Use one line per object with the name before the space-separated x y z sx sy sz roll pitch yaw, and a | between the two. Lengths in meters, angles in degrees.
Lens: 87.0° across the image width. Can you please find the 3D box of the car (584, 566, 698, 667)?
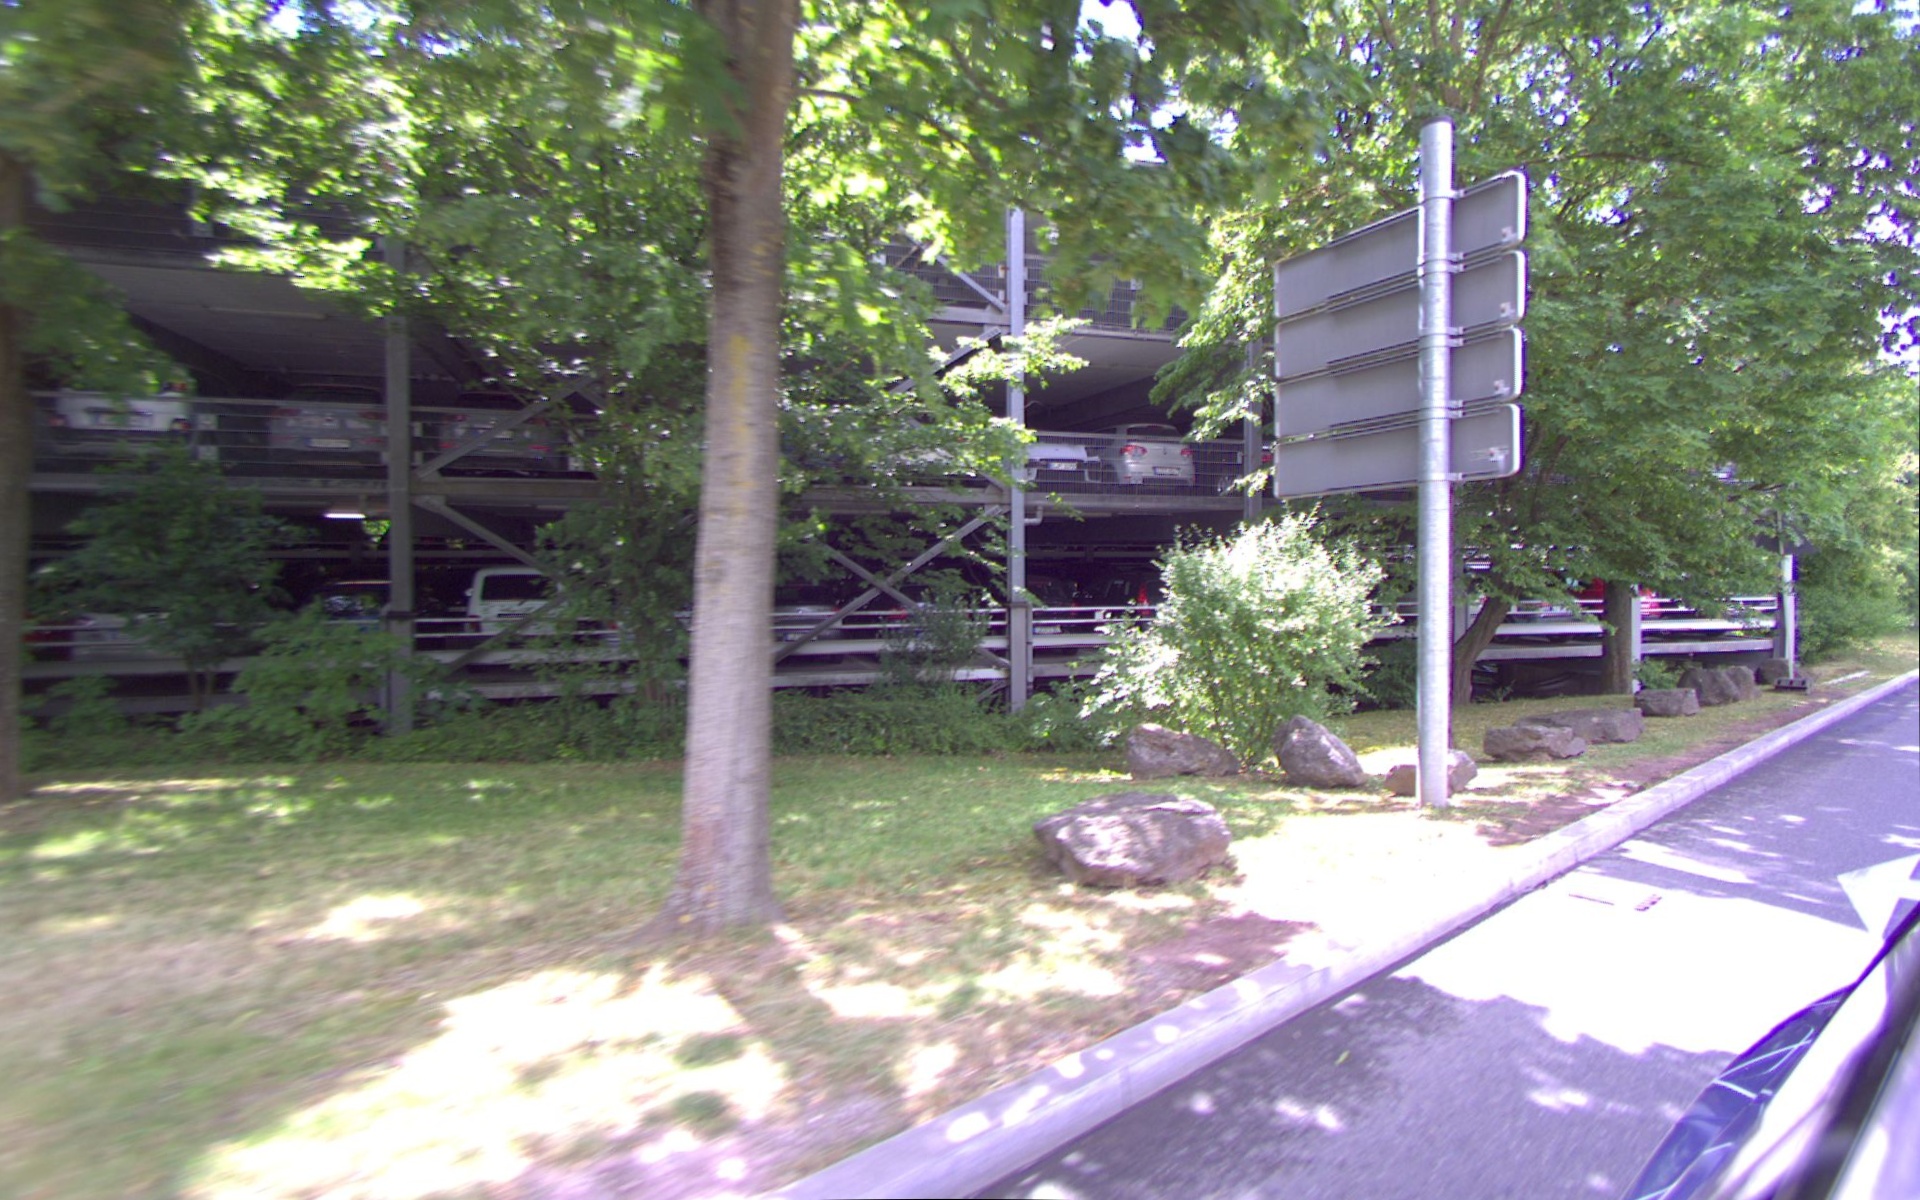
car | -5.428 0.194 17.287 1.659 1.508 3.866 0 2 -17

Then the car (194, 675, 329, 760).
car | -16.810 2.778 24.559 1.605 1.387 3.793 0 3 -17

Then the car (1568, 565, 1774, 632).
car | 16.513 -0.088 23.729 1.624 1.429 3.712 0 2 -18

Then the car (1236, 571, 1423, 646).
car | 7.572 0.111 21.156 1.659 1.409 3.866 0 2 -17

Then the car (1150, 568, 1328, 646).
car | 5.521 0.073 20.557 1.659 1.409 3.866 0 2 -17

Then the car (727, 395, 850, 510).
car | -3.055 -2.434 17.445 1.624 1.449 3.712 2 1 -16

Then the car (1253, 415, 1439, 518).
car | 7.825 -2.650 20.906 1.624 1.639 3.712 2 1 -16

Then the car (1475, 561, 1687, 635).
car | 14.088 -0.100 23.221 1.798 1.533 3.866 0 2 -19

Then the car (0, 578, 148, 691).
car | -13.616 0.411 14.542 1.739 1.409 3.807 0 2 -17

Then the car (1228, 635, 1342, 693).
car | 10.831 2.091 33.991 1.716 1.483 3.867 0 3 -17

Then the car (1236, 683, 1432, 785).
car | 7.700 2.706 21.242 1.798 1.471 3.866 0 2 -19

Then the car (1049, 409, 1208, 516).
car | 3.256 -2.655 20.299 1.624 1.639 3.712 2 1 -16

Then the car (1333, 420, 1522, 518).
car | 9.994 -2.740 21.961 1.624 1.662 3.712 2 1 -16

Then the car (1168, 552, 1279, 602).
car | 8.549 -0.810 33.136 1.716 1.504 3.867 0 3 -17

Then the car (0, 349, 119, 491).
car | -13.870 -2.556 14.295 1.691 1.639 3.712 2 1 -16

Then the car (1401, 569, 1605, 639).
car | 11.952 0.021 22.585 1.775 1.409 3.866 0 2 -17

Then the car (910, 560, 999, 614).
car | -0.235 -0.444 30.958 1.659 1.504 3.867 0 3 -17

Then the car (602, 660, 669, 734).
car | -8.961 2.613 28.048 1.659 1.464 3.867 0 3 -17

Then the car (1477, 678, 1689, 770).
car | 14.177 2.759 23.292 1.798 1.471 3.866 0 2 -19

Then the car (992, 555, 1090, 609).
car | 2.404 -0.591 31.061 1.659 1.504 3.867 0 3 -17

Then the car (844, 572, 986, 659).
car | -0.934 0.193 18.461 1.659 1.409 3.866 0 2 -17

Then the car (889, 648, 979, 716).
car | -0.832 2.343 29.723 1.659 1.464 3.867 0 3 -17

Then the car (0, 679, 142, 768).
car | -20.739 2.782 23.346 1.605 1.387 3.793 0 3 -17

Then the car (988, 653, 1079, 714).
car | 2.188 2.514 31.114 1.572 1.351 3.636 0 3 -17

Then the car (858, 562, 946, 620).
car | -1.756 -0.318 29.420 1.659 1.504 3.867 0 3 -17

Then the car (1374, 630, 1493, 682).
car | 17.075 1.990 36.679 1.716 1.442 3.867 0 3 -17

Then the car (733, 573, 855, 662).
car | -3.101 0.235 18.269 1.659 1.409 3.866 0 2 -17

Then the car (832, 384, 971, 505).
car | -1.146 -2.640 17.961 1.624 1.582 3.712 2 1 -16

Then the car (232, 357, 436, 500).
car | -9.395 -2.491 15.522 1.691 1.561 3.712 2 1 -16

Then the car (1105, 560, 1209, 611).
car | 6.297 -0.522 32.786 1.659 1.504 3.867 0 3 -17

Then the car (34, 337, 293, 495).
car | -11.453 -2.550 14.886 1.691 1.639 3.712 2 1 -16

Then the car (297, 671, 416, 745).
car | -15.248 2.673 25.766 1.739 1.349 3.807 0 2 -17

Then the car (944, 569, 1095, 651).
car | 1.040 0.117 19.641 1.659 1.409 3.866 0 2 -17

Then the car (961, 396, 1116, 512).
car | 1.347 -2.604 18.878 1.624 1.639 3.712 2 1 -16

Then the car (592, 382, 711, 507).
car | -5.210 -2.519 17.215 1.691 1.561 3.712 2 1 -16

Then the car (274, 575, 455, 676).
car | -9.387 0.310 16.264 1.659 1.409 3.866 0 2 -17

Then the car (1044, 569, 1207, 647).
car | 3.196 0.094 20.325 1.659 1.409 3.866 0 2 -17

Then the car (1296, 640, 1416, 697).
car | 13.331 2.272 34.294 1.716 1.442 3.867 0 3 -17

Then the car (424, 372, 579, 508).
car | -7.133 -2.408 16.080 1.691 1.561 3.712 2 1 -16

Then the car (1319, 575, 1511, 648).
car | 9.728 0.175 21.973 1.659 1.409 3.866 0 2 -17

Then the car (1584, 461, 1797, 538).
car | 16.681 -2.236 23.330 1.624 1.429 3.712 2 1 -16

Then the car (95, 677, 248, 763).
car | -18.636 2.772 24.119 1.605 1.387 3.793 0 3 -17

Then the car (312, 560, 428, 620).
car | -14.969 -0.293 25.867 1.739 1.409 3.807 0 2 -17

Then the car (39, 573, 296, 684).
car | -11.523 0.314 15.060 1.739 1.409 3.866 0 2 -17

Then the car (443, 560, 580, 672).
car | -7.374 0.186 16.951 1.659 1.646 3.866 0 1 -17

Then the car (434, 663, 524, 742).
car | -12.567 2.633 26.658 1.605 1.464 3.793 0 3 -17
